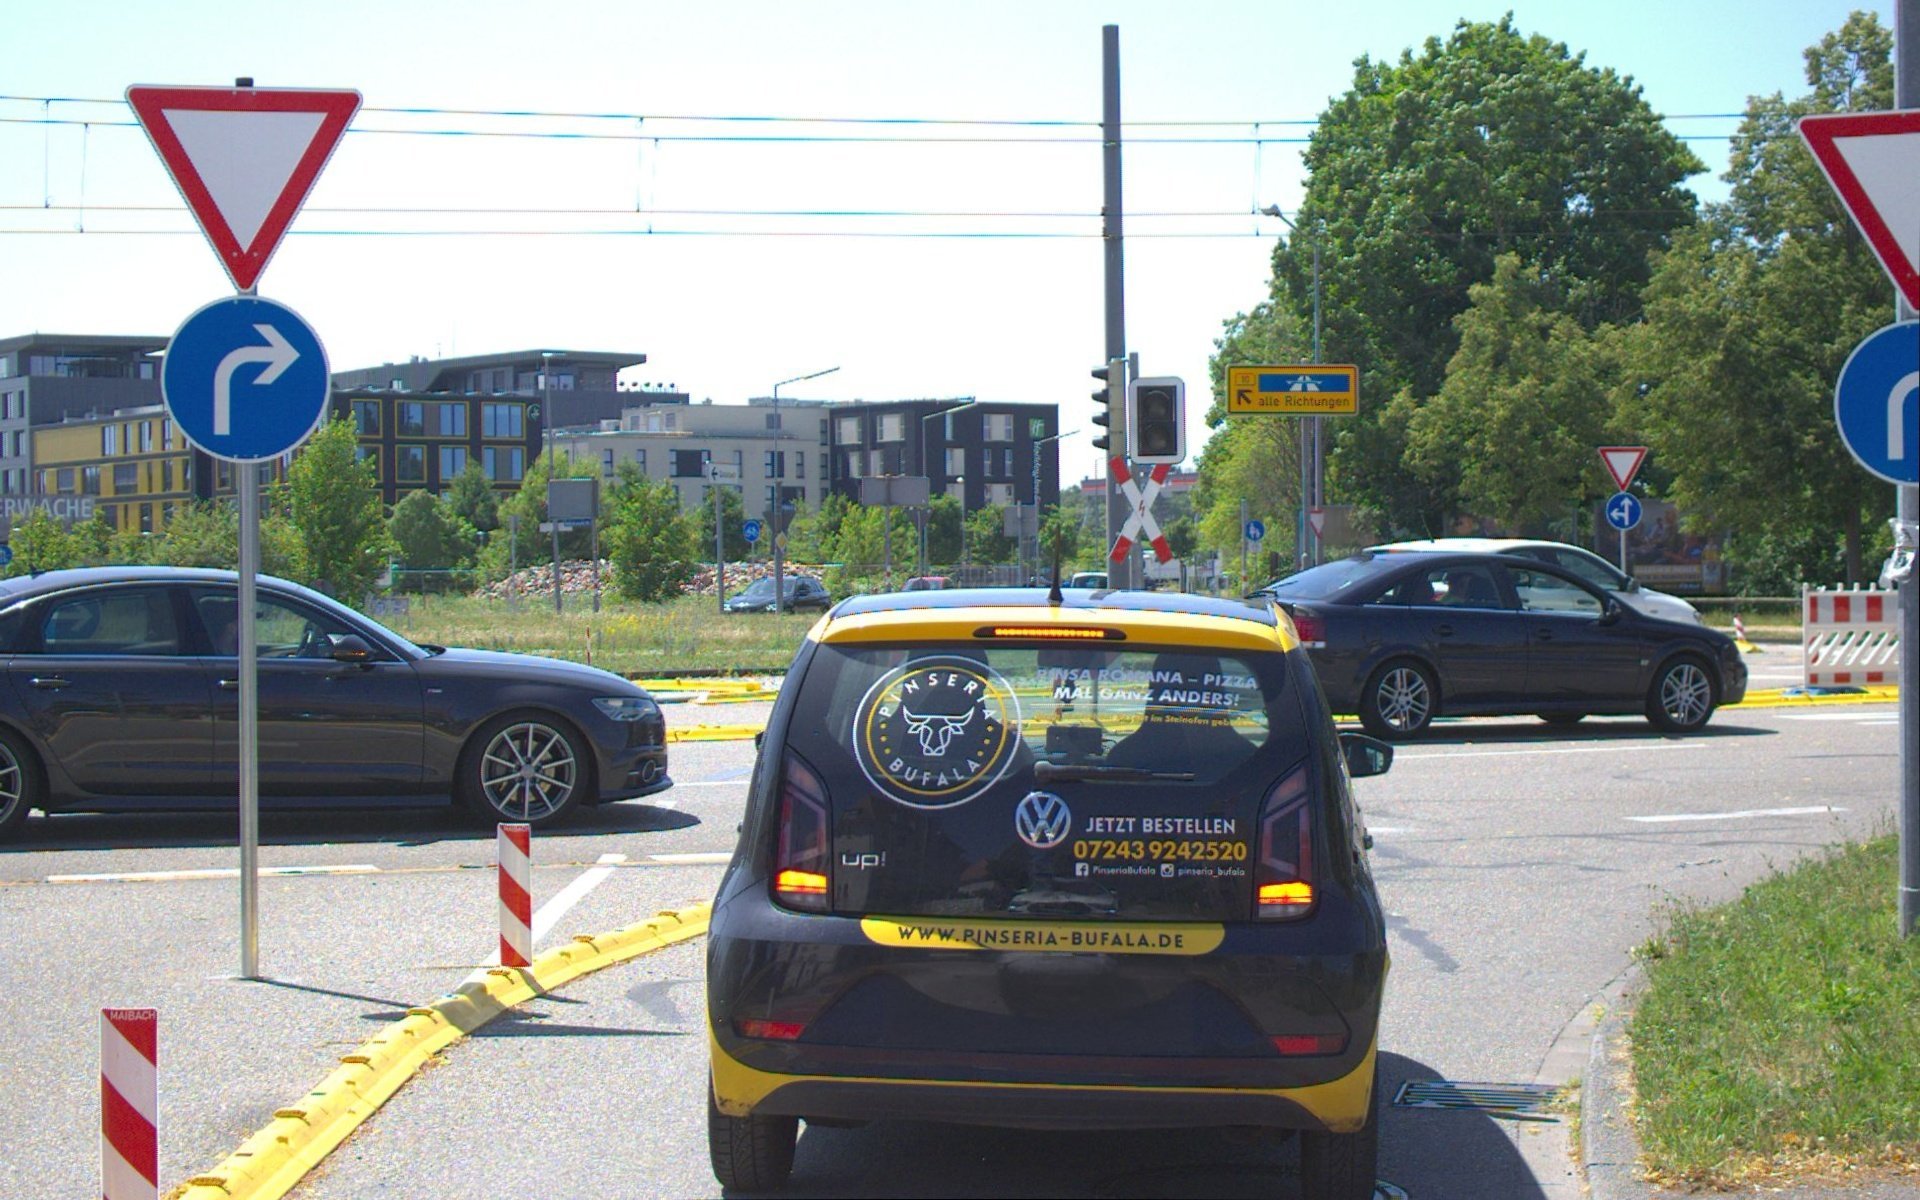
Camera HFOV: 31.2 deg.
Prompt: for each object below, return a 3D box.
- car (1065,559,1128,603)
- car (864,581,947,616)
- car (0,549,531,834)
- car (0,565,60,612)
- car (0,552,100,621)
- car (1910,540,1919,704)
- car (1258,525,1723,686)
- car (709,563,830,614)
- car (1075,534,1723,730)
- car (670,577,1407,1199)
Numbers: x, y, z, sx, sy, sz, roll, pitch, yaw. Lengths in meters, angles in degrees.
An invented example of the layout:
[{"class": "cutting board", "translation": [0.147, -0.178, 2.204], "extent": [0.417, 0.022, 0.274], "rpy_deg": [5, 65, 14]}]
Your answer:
[{"class": "car", "translation": [4.361, -0.615, 109.621], "extent": [1.659, 1.368, 3.031], "rpy_deg": [0, 1, 9]}, {"class": "car", "translation": [-1.731, -0.057, 110.793], "extent": [1.494, 1.086, 3.517], "rpy_deg": [0, 1, 20]}, {"class": "car", "translation": [-4.821, 0.475, 19.007], "extent": [4.633, 1.444, 2.001], "rpy_deg": [-1, 1, -14]}, {"class": "car", "translation": [-24.268, -0.284, 86.496], "extent": [2.886, 1.151, 1.205], "rpy_deg": [-1, 1, 5]}, {"class": "car", "translation": [-20.831, -0.295, 74.377], "extent": [4.035, 1.456, 1.730], "rpy_deg": [-1, 1, -26]}, {"class": "car", "translation": [10.761, 0.211, 30.461], "extent": [4.336, 1.444, 1.857], "rpy_deg": [0, 1, -25]}, {"class": "car", "translation": [5.290, 0.024, 34.120], "extent": [4.353, 1.481, 2.000], "rpy_deg": [-1, 1, -34]}, {"class": "car", "translation": [-5.161, -0.324, 93.361], "extent": [1.771, 1.340, 3.316], "rpy_deg": [0, 1, 30]}, {"class": "car", "translation": [3.481, 0.228, 27.183], "extent": [4.742, 1.444, 2.000], "rpy_deg": [0, 1, -25]}, {"class": "car", "translation": [0.140, 0.680, 9.588], "extent": [1.618, 1.446, 3.987], "rpy_deg": [0, 1, -1]}]
